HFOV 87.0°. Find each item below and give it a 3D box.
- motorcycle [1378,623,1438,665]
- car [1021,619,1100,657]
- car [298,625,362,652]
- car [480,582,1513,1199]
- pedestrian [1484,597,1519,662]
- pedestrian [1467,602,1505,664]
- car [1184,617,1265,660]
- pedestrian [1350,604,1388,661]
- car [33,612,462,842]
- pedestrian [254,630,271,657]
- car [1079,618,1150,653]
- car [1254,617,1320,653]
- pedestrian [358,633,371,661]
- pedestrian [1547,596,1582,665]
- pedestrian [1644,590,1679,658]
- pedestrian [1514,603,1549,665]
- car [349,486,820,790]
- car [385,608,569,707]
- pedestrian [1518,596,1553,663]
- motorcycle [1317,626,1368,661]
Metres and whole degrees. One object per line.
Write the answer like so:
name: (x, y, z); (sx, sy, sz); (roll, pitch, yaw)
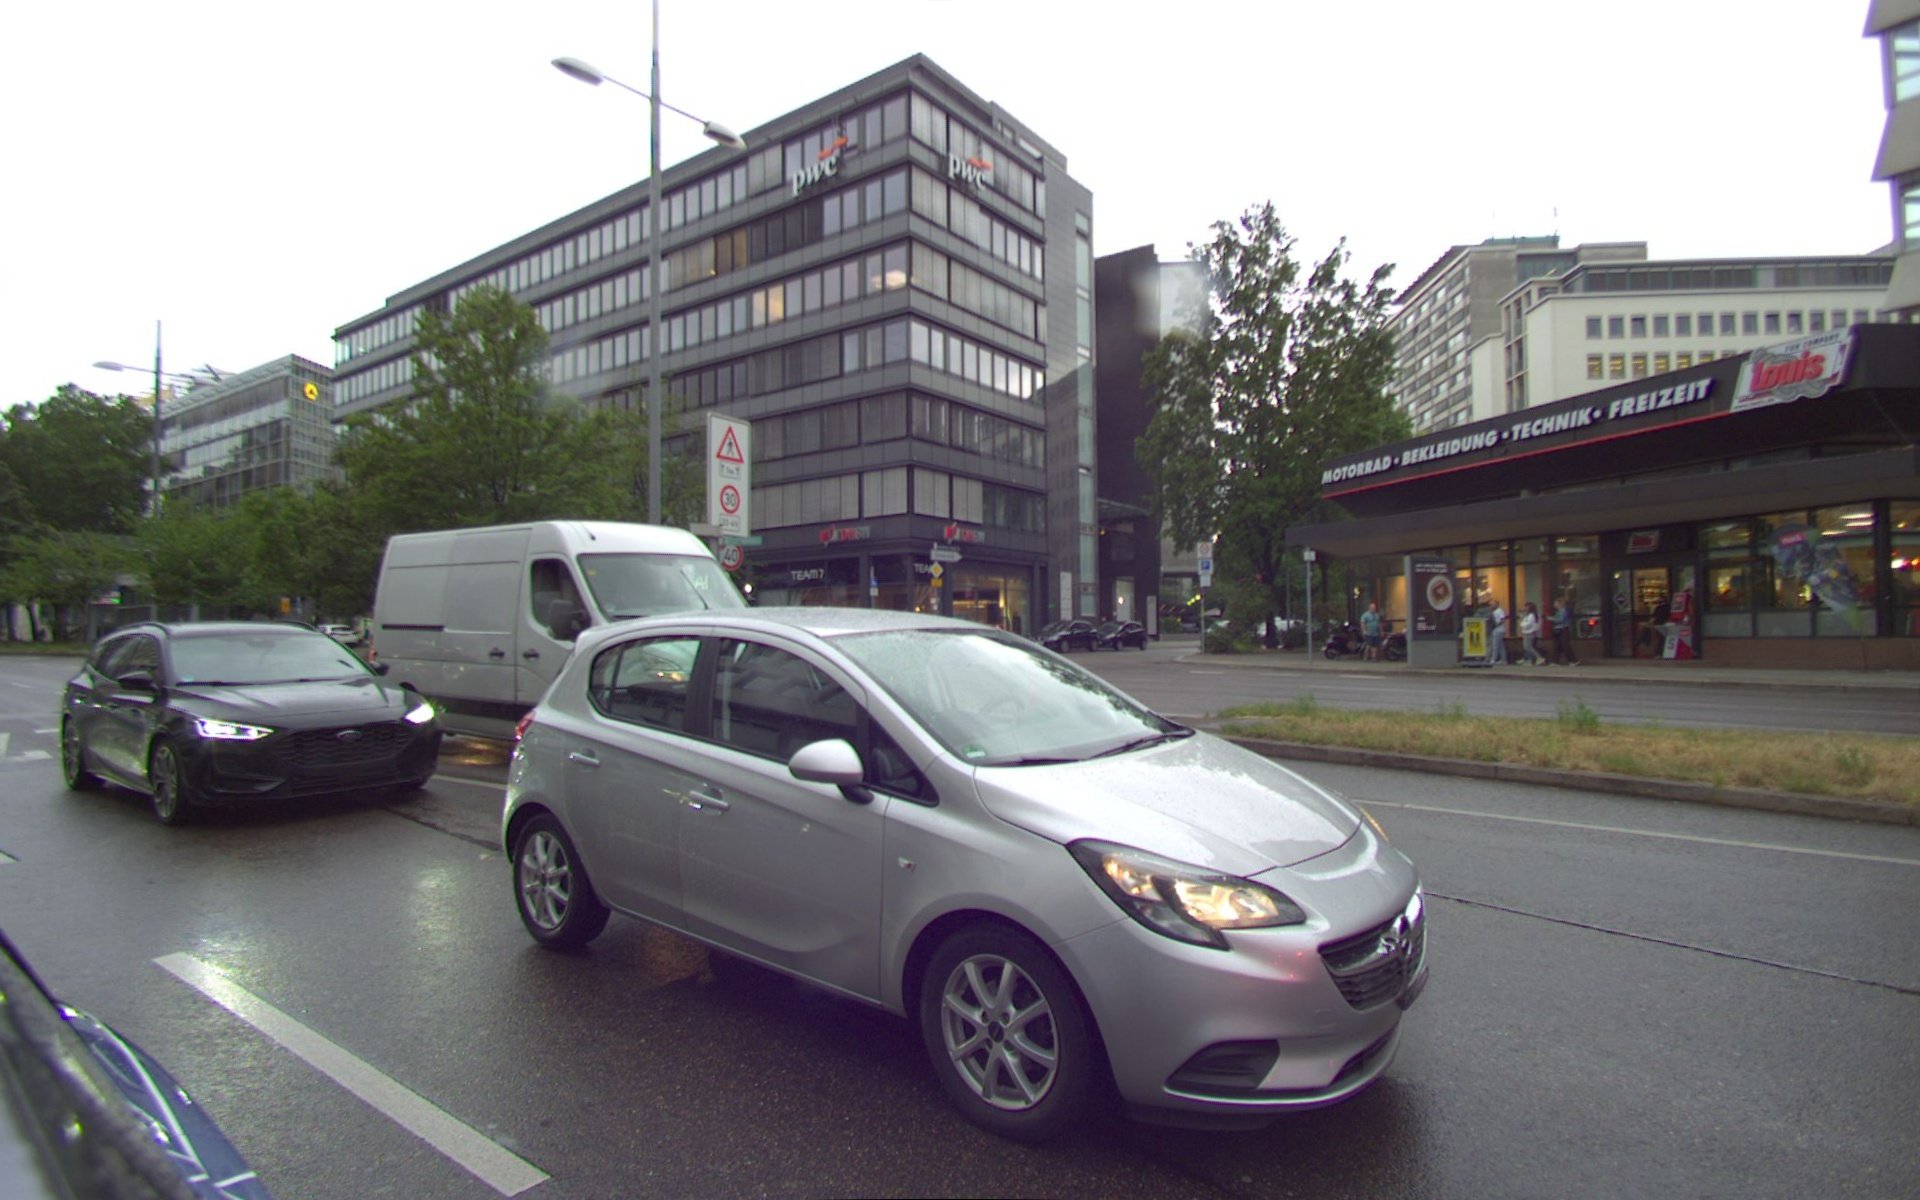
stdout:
motorcycle: (13.831, 1.347, 31.236); (1.646, 1.242, 0.360); (-1, -1, 2)
car: (4.538, 1.663, 45.482); (1.847, 1.596, 3.716); (-2, -1, 37)
car: (-37.944, 2.293, 60.925); (3.992, 1.518, 1.975); (-2, -1, 36)
car: (-0.176, 0.726, 3.980); (3.872, 1.446, 1.631); (-2, -1, 40)
pedestrian: (14.730, 0.796, 27.542); (0.605, 1.757, 0.560); (0, -1, -29)
pedestrian: (13.995, 0.872, 26.933); (0.605, 1.623, 0.614); (0, -1, -29)
car: (10.666, 1.508, 40.649); (1.847, 1.596, 3.716); (-2, -1, 37)
pedestrian: (12.161, 0.964, 30.087); (0.721, 1.661, 0.702); (-1, -1, -19)
car: (-6.044, 0.868, 8.422); (4.087, 1.446, 1.755); (-2, -1, 37)
pedestrian: (-52.999, 3.298, 76.897); (0.539, 2.029, 0.917); (-2, -1, 39)
car: (7.573, 1.719, 49.478); (1.847, 1.596, 3.716); (-2, -1, 37)
car: (15.564, 1.630, 48.049); (1.847, 1.596, 3.716); (-2, -1, 37)
pedestrian: (-44.371, 3.489, 75.414); (0.500, 2.029, 0.681); (-2, -1, 38)
pedestrian: (15.596, 0.778, 26.111); (0.532, 1.757, 0.560); (0, -1, -29)
pedestrian: (18.206, 0.618, 26.262); (0.516, 1.731, 0.500); (-1, -1, -16)
pedestrian: (14.812, 0.876, 26.251); (0.532, 1.582, 0.560); (0, -1, -29)
car: (-4.132, 0.368, 10.593); (5.469, 2.459, 1.929); (-2, -1, 36)
car: (-8.950, 1.004, 18.675); (3.492, 1.630, 1.744); (-2, -1, 39)
pedestrian: (15.387, 0.781, 27.065); (0.532, 1.757, 0.560); (0, -1, -29)
motorcycle: (12.963, 1.459, 34.290); (1.600, 1.153, 0.360); (-1, -1, -8)
